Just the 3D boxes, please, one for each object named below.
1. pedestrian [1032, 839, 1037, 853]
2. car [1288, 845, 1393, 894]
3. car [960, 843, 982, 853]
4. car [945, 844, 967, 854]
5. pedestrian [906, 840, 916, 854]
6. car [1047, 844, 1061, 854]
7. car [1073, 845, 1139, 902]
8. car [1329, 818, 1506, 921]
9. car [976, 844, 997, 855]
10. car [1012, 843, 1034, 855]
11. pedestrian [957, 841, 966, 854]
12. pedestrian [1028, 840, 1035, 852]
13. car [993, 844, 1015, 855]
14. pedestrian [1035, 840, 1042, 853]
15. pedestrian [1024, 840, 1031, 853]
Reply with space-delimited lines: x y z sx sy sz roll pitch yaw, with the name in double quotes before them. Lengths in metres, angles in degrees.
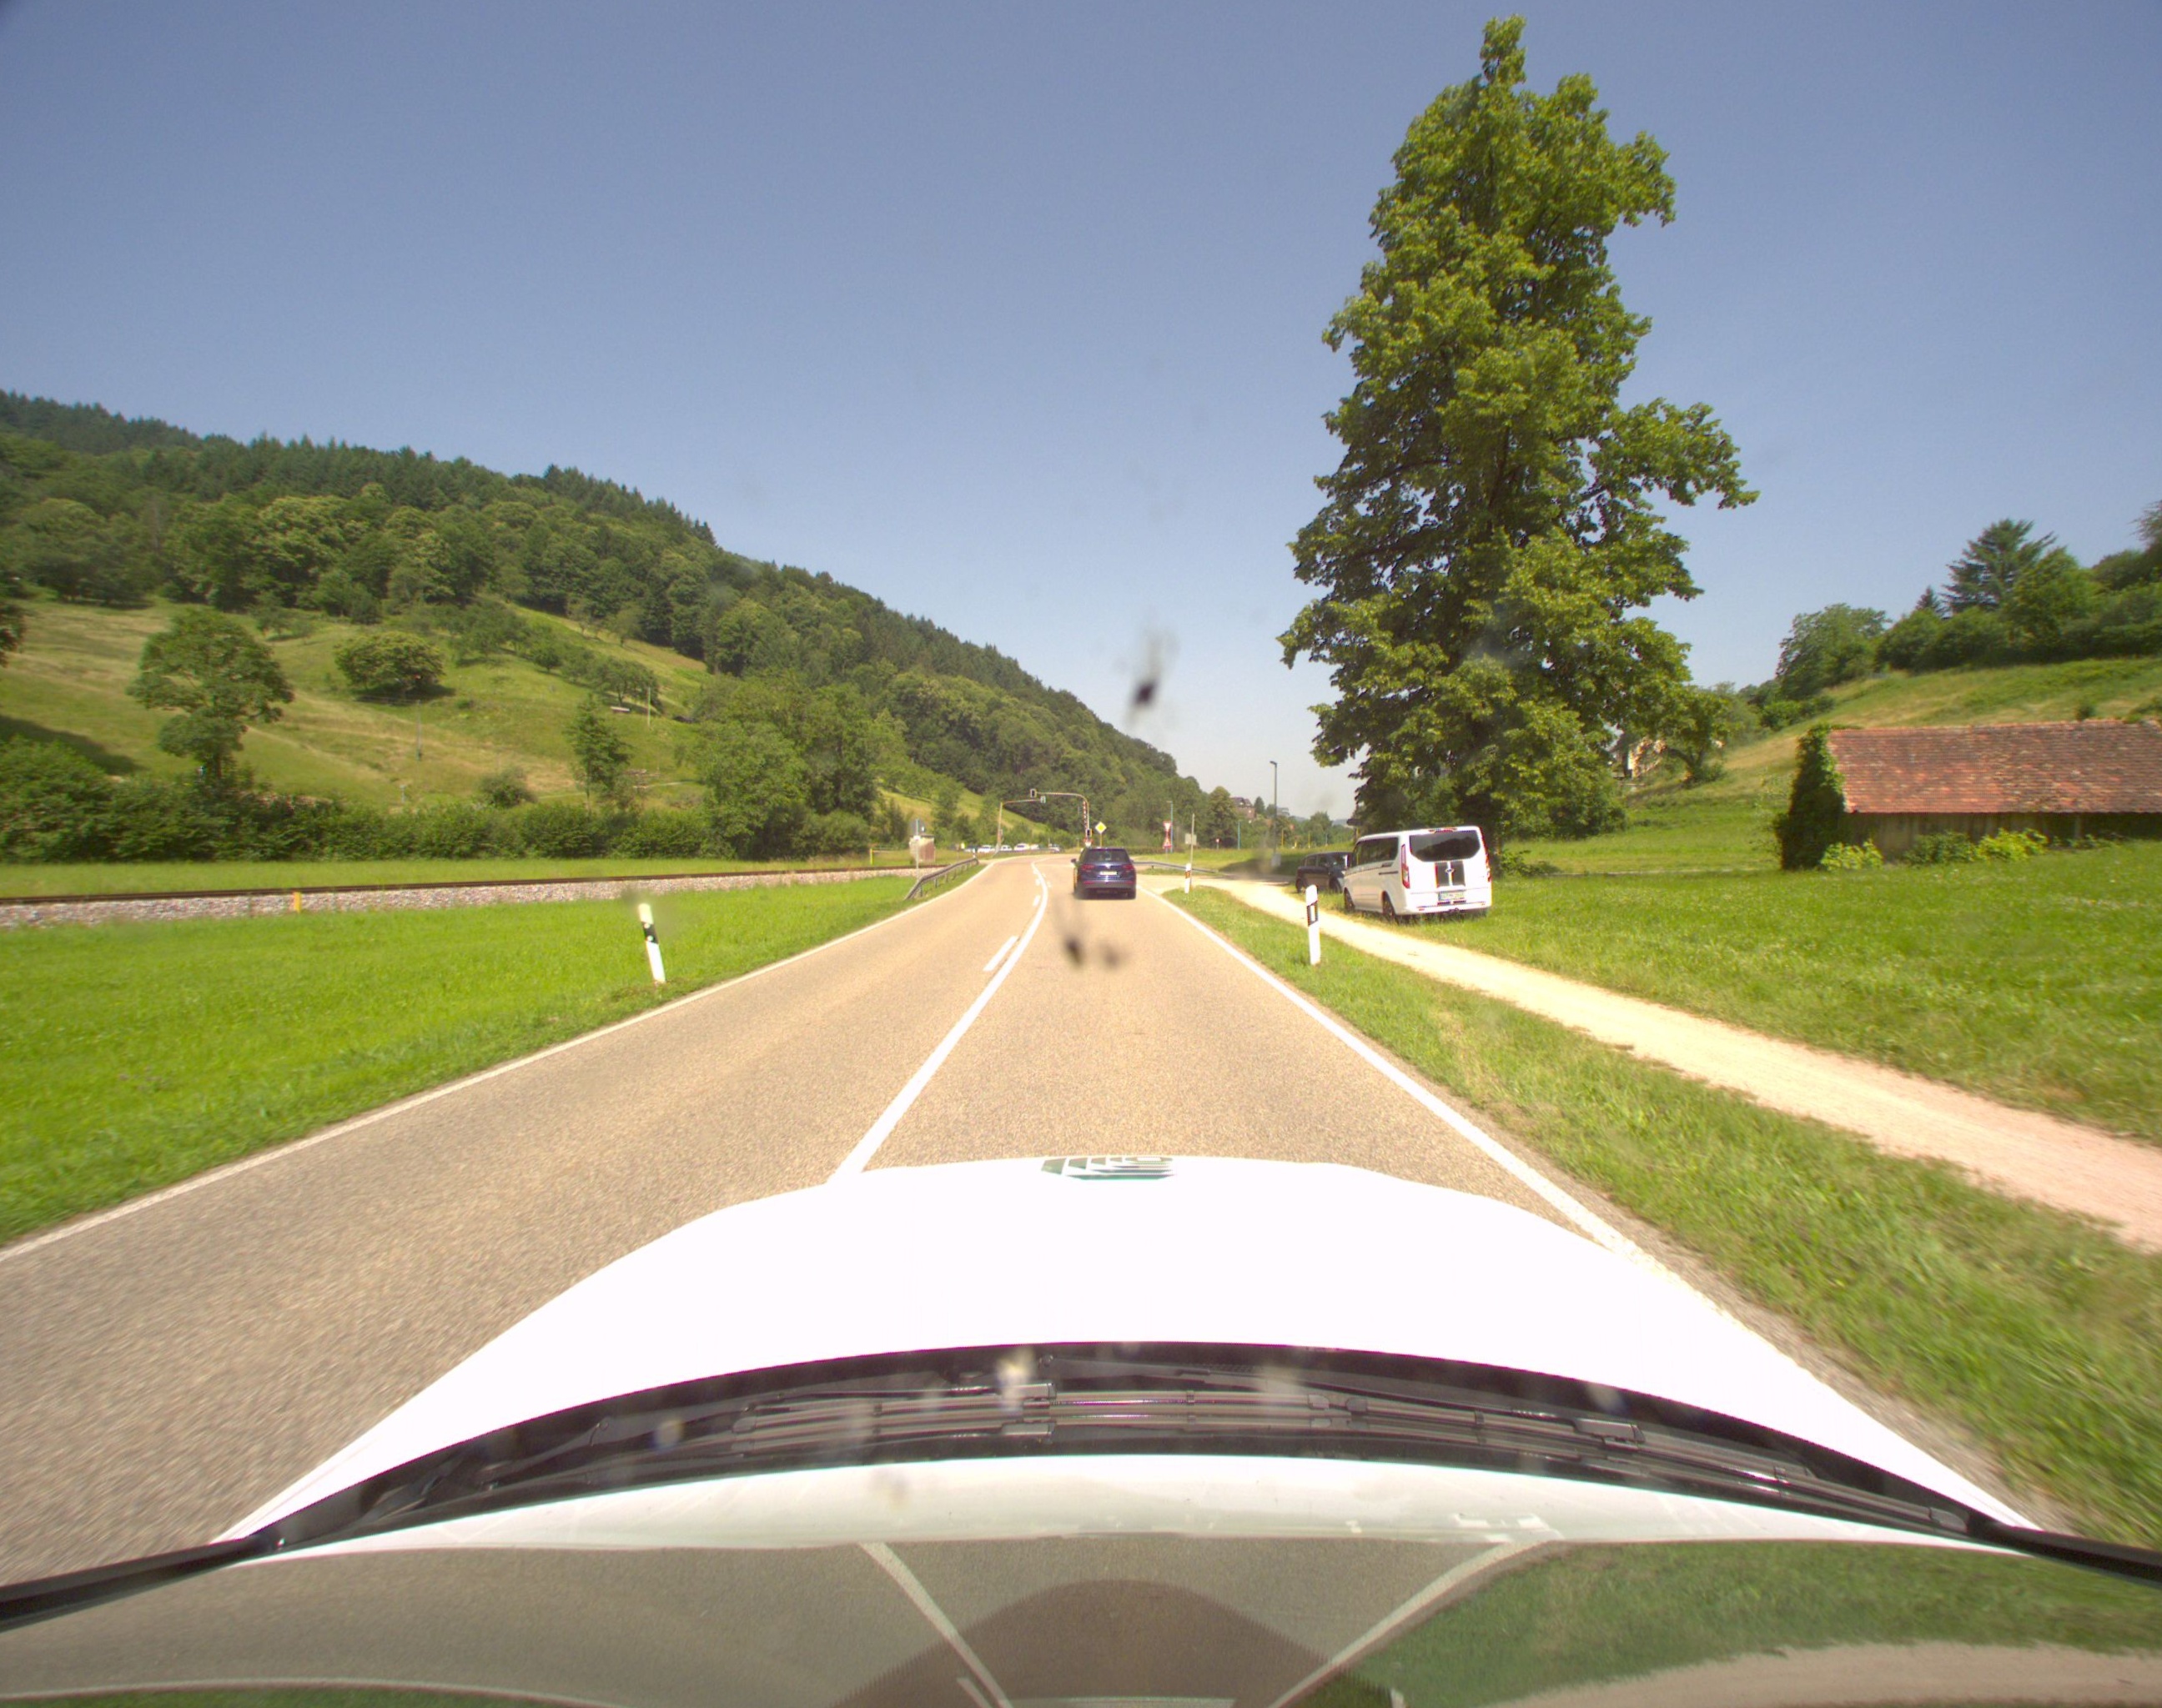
"pedestrian" -6.659 -1.153 116.291 0.658 1.954 0.533 -1 0 2
"car" 8.510 0.518 27.060 1.675 1.457 3.700 -2 -1 -12
"car" -16.753 -0.909 124.423 1.981 1.500 4.534 2 1 10
"car" -19.157 -0.830 125.089 1.981 1.500 4.534 -1 0 10
"pedestrian" -25.105 -1.030 120.412 1.115 1.969 0.867 -1 0 27
"car" -3.977 -0.735 121.223 1.819 1.500 4.280 -1 0 2
"car" 0.717 0.561 26.128 1.848 1.649 4.137 -1 0 -2
"car" 7.338 0.291 18.400 1.992 1.848 4.871 -5 0 2
"car" -14.324 -0.686 123.828 1.981 1.500 4.534 -1 0 10
"car" -8.743 -0.811 123.796 1.857 1.782 4.791 0 1 15
"pedestrian" -17.316 -0.955 117.871 0.949 1.794 1.002 -1 0 6
"pedestrian" -7.080 -1.128 116.512 0.761 1.796 0.799 -1 0 38
"car" -11.635 -0.730 123.717 1.980 1.641 4.918 -1 0 12
"pedestrian" -6.098 -1.107 116.591 0.775 1.858 0.641 -1 0 -45
"pedestrian" -7.567 -1.092 115.690 0.781 1.842 0.702 -1 0 22
